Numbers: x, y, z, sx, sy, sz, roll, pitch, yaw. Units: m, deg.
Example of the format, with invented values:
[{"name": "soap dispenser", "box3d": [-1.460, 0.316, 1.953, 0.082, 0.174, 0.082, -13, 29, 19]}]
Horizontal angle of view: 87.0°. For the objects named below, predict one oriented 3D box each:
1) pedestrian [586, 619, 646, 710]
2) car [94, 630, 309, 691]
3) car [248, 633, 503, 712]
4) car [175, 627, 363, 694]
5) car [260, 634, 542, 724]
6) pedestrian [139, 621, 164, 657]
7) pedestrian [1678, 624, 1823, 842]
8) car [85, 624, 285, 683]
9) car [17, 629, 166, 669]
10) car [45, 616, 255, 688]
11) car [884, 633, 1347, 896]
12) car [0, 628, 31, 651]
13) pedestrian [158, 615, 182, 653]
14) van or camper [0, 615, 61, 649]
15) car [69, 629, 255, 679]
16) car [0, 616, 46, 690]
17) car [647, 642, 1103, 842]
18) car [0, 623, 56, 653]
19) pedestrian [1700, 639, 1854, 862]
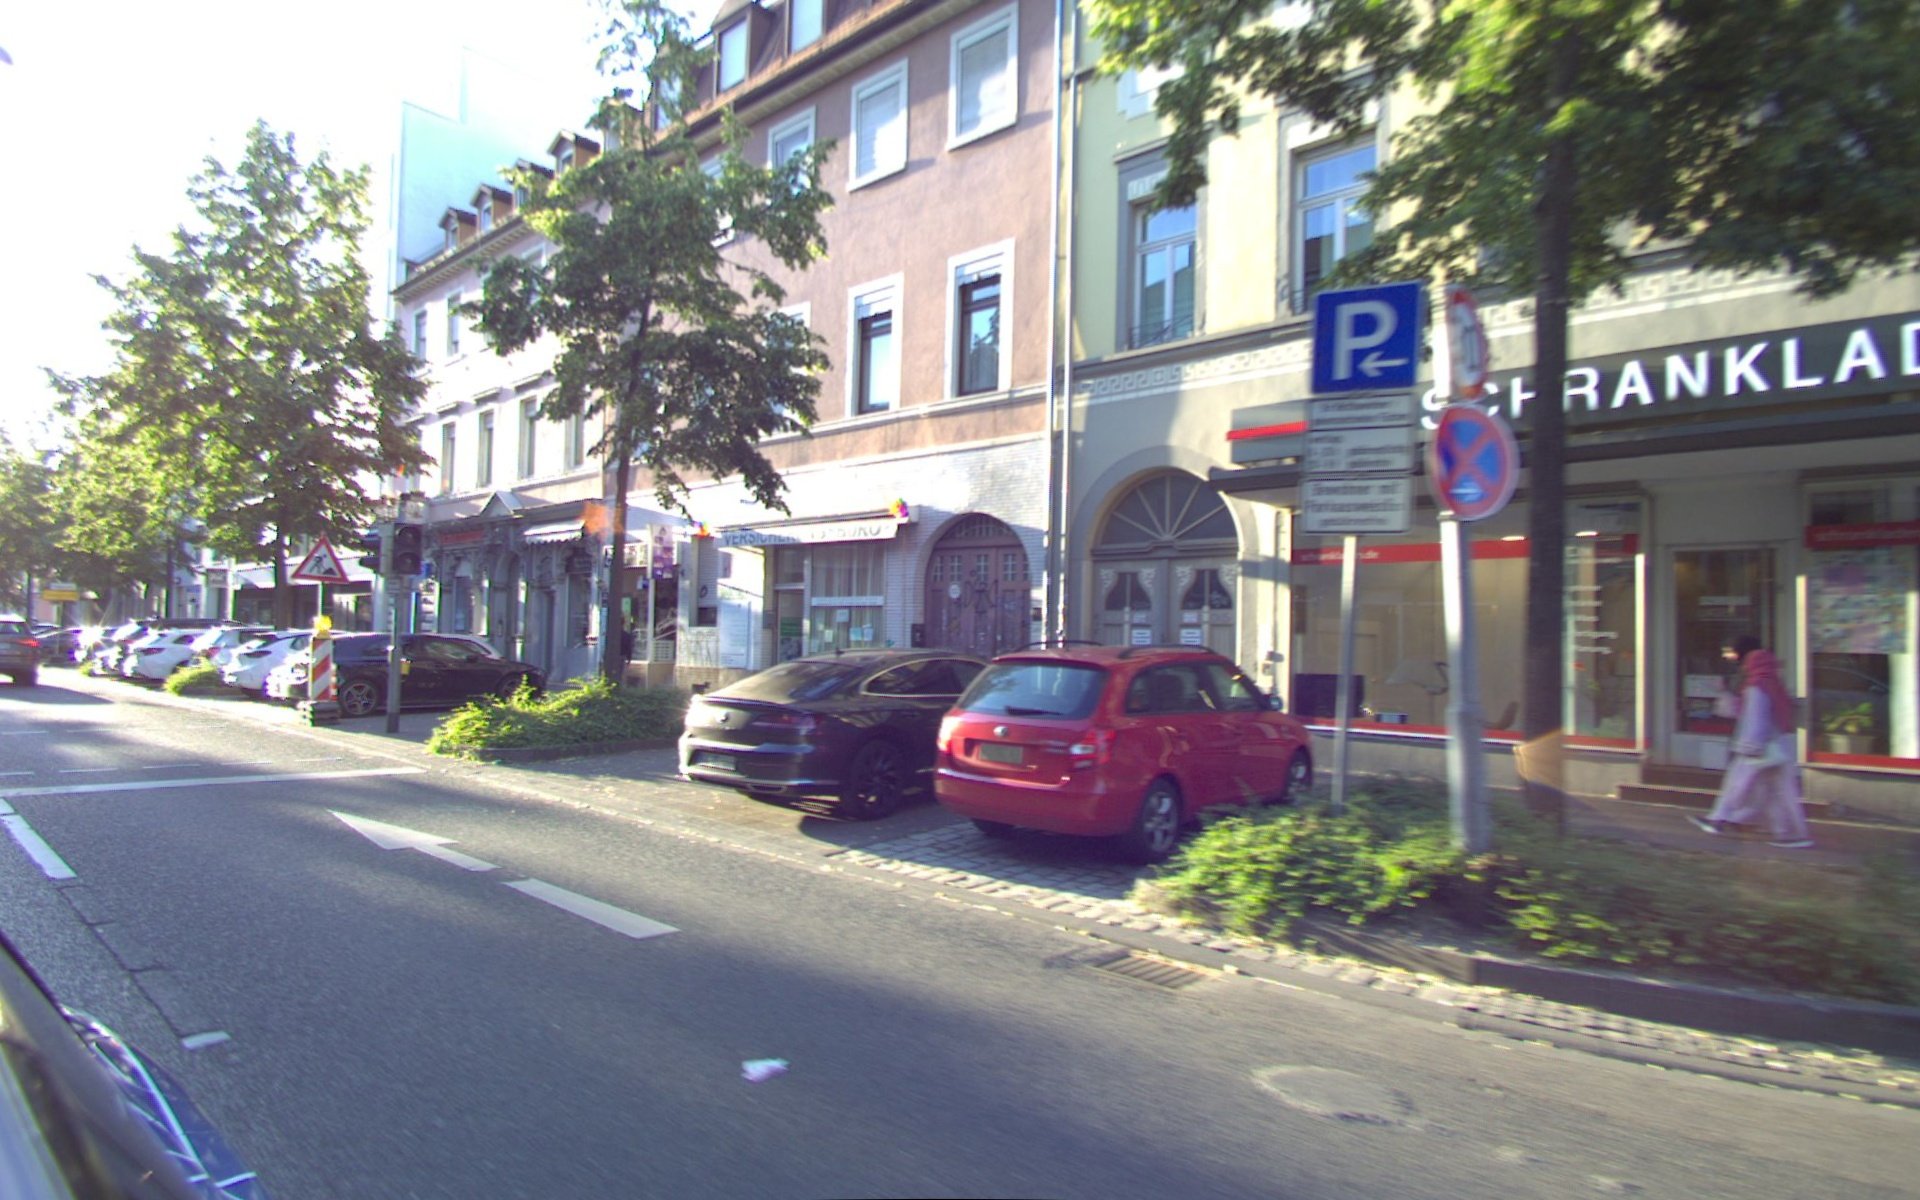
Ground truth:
[{"name": "pedestrian", "box3d": [-6.775, 1.242, 19.915, 0.875, 1.734, 0.763, 0, -1, 42]}, {"name": "car", "box3d": [-19.293, 1.483, 25.896, 1.765, 1.432, 4.108, -1, -2, 39]}, {"name": "car", "box3d": [-11.630, 1.395, 20.325, 1.843, 1.414, 4.052, -1, -3, 43]}, {"name": "car", "box3d": [-16.992, 1.431, 24.998, 1.714, 1.513, 3.520, -1, -2, 40]}, {"name": "car", "box3d": [-9.991, 1.333, 18.345, 1.882, 1.414, 4.066, -1, -2, 39]}, {"name": "pedestrian", "box3d": [-37.859, 1.822, 47.389, 1.094, 1.614, 0.711, -2, -1, 42]}, {"name": "pedestrian", "box3d": [6.413, 1.015, 8.213, 0.875, 1.620, 0.763, 0, -1, 42]}, {"name": "car", "box3d": [-22.707, 1.512, 29.788, 1.888, 1.608, 4.361, -2, -2, 40]}, {"name": "car", "box3d": [-34.116, 1.893, 39.823, 1.744, 1.495, 4.229, -2, -3, 41]}, {"name": "car", "box3d": [-21.740, 1.349, 27.303, 1.888, 1.786, 4.108, -1, -2, 39]}, {"name": "car", "box3d": [1.472, 1.062, 8.262, 1.883, 1.548, 4.030, -1, -2, 41]}, {"name": "car", "box3d": [-64.908, 2.640, 67.291, 1.813, 1.536, 4.382, -1, -2, 40]}, {"name": "pedestrian", "box3d": [-37.379, 1.615, 47.891, 0.933, 1.763, 0.711, -2, -1, 42]}, {"name": "van or camper", "box3d": [-56.919, 1.927, 60.577, 1.789, 1.971, 4.410, -2, -3, 43]}, {"name": "car", "box3d": [-25.786, 1.706, 32.836, 1.743, 1.495, 4.500, -2, -3, 41]}, {"name": "car", "box3d": [-24.101, 1.244, 24.855, 4.458, 1.705, 1.842, -1, -5, 41]}, {"name": "car", "box3d": [-0.571, 1.155, 9.902, 1.820, 1.418, 4.524, -1, -2, 40]}, {"name": "car", "box3d": [-54.996, 2.193, 58.358, 1.733, 1.681, 4.137, -1, -2, 43]}, {"name": "pedestrian", "box3d": [6.231, 1.085, 7.720, 0.875, 1.539, 0.726, 0, -1, 42]}]
